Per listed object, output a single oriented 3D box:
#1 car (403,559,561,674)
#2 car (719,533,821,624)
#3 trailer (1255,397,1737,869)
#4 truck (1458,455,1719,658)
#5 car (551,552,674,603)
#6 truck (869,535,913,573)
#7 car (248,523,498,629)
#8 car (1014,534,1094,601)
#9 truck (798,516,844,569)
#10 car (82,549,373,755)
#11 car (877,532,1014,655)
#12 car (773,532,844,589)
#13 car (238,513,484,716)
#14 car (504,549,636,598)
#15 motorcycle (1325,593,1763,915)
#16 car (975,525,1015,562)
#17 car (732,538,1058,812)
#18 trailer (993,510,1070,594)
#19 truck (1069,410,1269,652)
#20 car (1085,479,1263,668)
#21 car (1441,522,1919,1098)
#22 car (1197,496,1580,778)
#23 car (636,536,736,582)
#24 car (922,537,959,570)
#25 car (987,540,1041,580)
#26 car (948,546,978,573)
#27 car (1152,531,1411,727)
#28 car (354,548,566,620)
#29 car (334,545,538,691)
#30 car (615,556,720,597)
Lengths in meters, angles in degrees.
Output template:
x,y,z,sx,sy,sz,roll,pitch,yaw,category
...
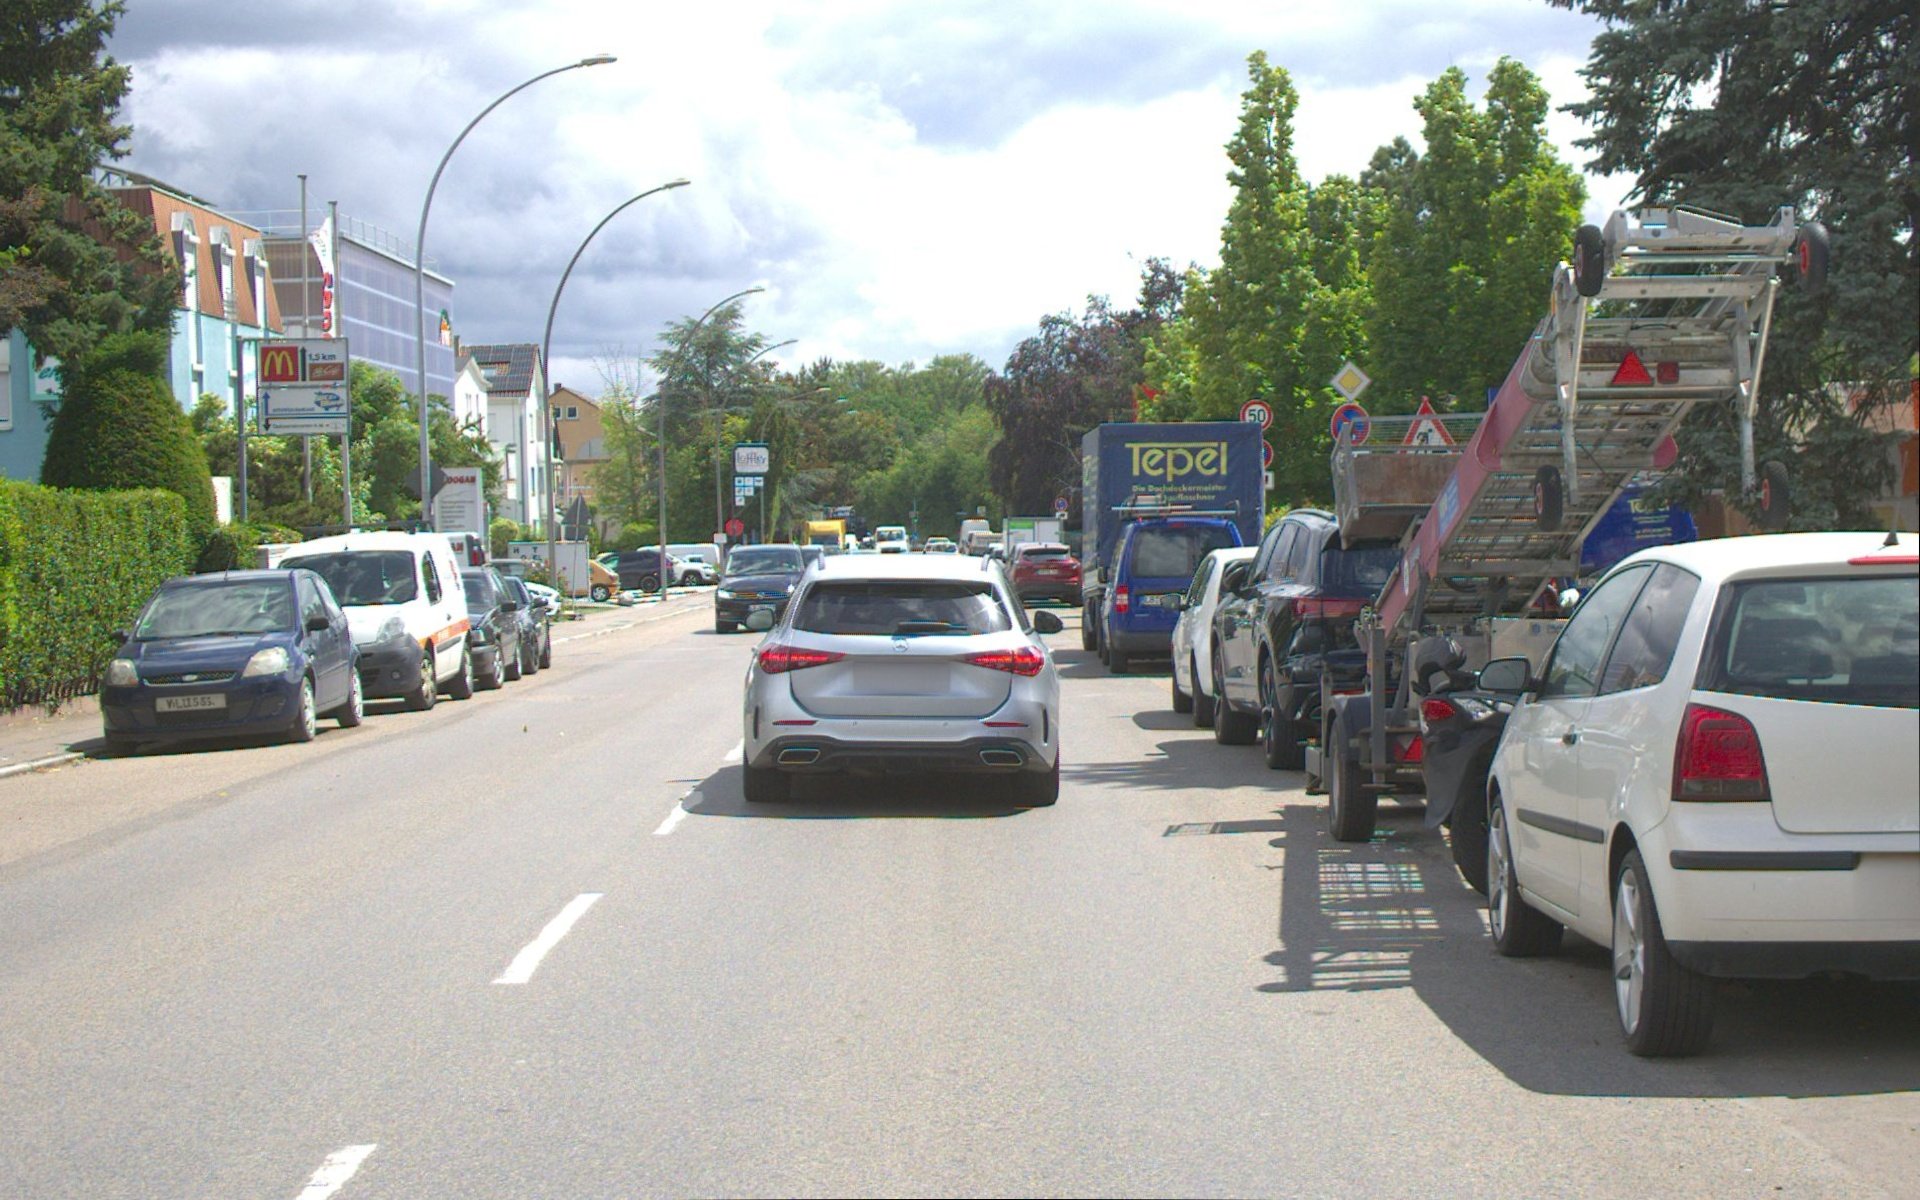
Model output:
x,y,z,sx,sy,sz,roll,pitch,yaw,category
-6.341,0.188,45.958,1.630,1.299,4.117,-4,2,-2,car
-3.561,-0.442,65.032,1.743,1.622,4.356,0,1,-1,car
2.656,0.101,17.950,1.772,2.137,4.114,-1,1,-1,trailer
7.261,-0.587,40.287,1.829,2.074,5.386,-4,3,-1,truck
-13.653,-0.895,135.314,4.626,1.627,2.198,-4,2,-3,car
-4.187,-2.844,210.262,2.319,2.171,6.449,-2,1,2,truck
-11.593,-0.498,68.180,4.650,1.965,2.116,-1,1,-3,car
2.407,-0.848,87.563,1.941,1.566,4.446,-2,1,2,car
-7.740,-3.233,192.034,2.075,2.804,7.078,-2,1,1,truck
-6.178,0.382,29.402,1.639,1.482,4.001,-4,2,-2,car
-0.223,-0.126,46.686,1.755,1.553,4.000,-1,1,-1,car
-4.619,-1.227,105.175,1.993,1.610,4.411,-2,1,-1,car
-6.073,0.081,35.304,1.743,1.832,4.356,-4,2,-2,car
-12.618,-0.873,111.456,4.149,1.486,1.826,1,1,-3,car
2.471,0.609,14.443,1.817,1.205,0.717,-3,2,-35,motorcycle
1.966,-3.193,193.696,2.144,1.977,5.261,-1,1,0,car
-0.433,0.371,20.950,1.784,1.479,4.317,0,1,-2,car
2.023,-1.384,98.884,1.941,2.286,4.446,-2,1,-2,trailer
2.784,-0.961,47.274,2.320,3.086,6.043,1,1,0,truck
2.545,-0.357,41.850,1.873,2.161,4.464,1,1,0,car
2.666,0.517,11.112,1.719,1.427,3.983,-3,2,2,car
2.860,0.175,23.960,1.873,1.721,4.714,-2,1,-2,car
-12.194,-1.825,152.944,4.279,1.830,1.991,-1,-2,-1,car
-0.967,-2.287,169.736,1.755,1.553,4.000,-1,1,-1,car
2.097,-1.582,134.913,1.791,1.445,4.364,-2,1,-3,car
0.186,-2.597,218.856,1.784,1.709,4.317,0,1,-2,car
2.698,0.194,29.630,1.773,1.503,4.000,-2,1,-1,car
-11.009,-0.350,75.833,4.374,1.473,1.871,-1,0,0,car
-6.161,0.169,40.903,1.743,1.467,4.645,-4,2,-2,car
-12.560,-1.002,147.833,4.279,1.561,1.991,-1,-2,0,car
